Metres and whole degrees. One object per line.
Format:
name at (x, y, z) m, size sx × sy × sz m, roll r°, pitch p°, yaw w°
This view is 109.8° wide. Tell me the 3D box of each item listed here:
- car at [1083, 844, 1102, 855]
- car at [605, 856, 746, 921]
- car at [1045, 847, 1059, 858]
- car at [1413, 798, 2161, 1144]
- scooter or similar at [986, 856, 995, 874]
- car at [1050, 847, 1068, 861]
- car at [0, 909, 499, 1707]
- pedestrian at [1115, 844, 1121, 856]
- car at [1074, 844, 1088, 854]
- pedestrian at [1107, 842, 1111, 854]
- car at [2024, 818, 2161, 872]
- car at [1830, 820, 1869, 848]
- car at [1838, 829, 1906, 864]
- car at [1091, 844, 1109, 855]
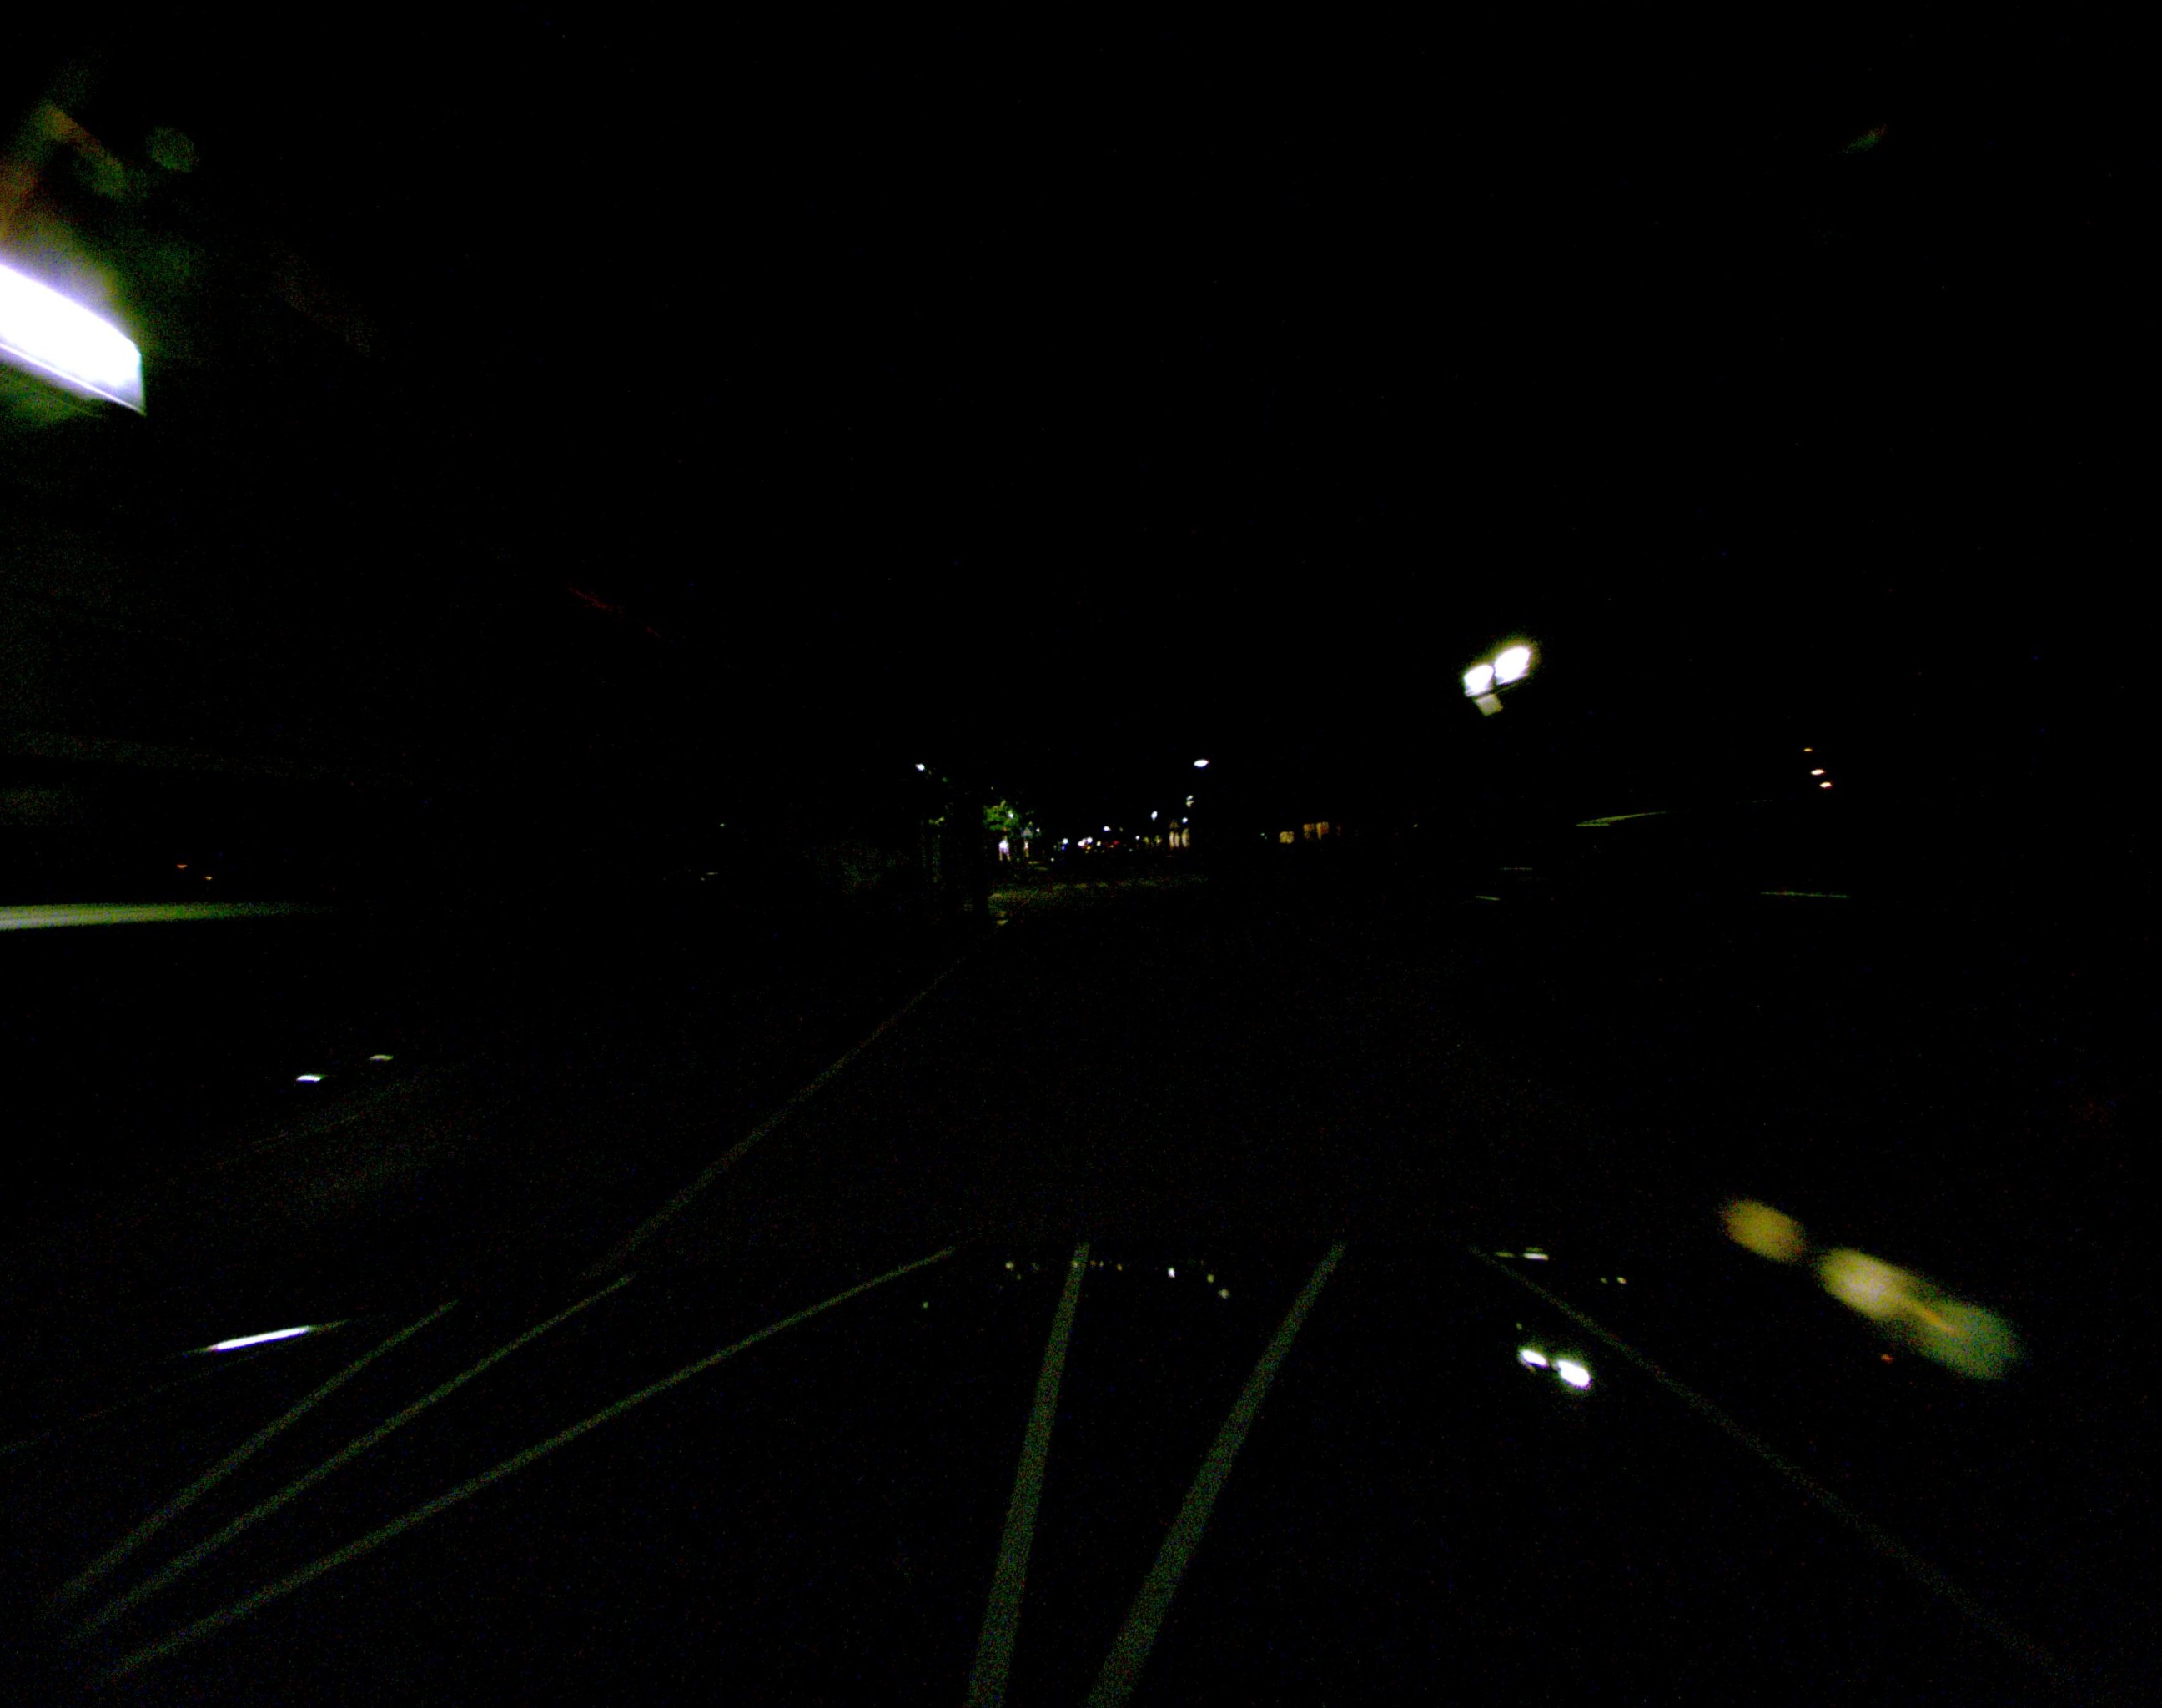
car at (1.846, -0.725, 123.235) m, size 1.912 × 1.533 × 4.776 m, roll -4°, pitch 1°, yaw -12°
car at (-11.215, 0.882, 21.356) m, size 1.809 × 1.452 × 4.055 m, roll 2°, pitch 2°, yaw -1°
car at (-4.368, -0.305, 113.527) m, size 1.747 × 1.479 × 4.631 m, roll -2°, pitch 2°, yaw -7°
car at (4.908, 0.588, 6.440) m, size 2.023 × 1.681 × 5.003 m, roll -4°, pitch 1°, yaw 1°
scooter or similar at (-6.480, 0.773, 54.607) m, size 0.374 × 1.269 × 1.305 m, roll -2°, pitch 2°, yaw 2°
car at (-2.453, -0.006, 83.560) m, size 1.739 × 1.432 × 4.494 m, roll -2°, pitch 1°, yaw -5°
car at (-2.712, 0.948, 0.571) m, size 1.679 × 1.451 × 3.675 m, roll -2°, pitch 1°, yaw -1°
pedestrian at (5.836, -0.702, 119.106) m, size 0.794 × 1.807 × 1.023 m, roll -4°, pitch 2°, yaw -2°
car at (-0.050, -0.916, 134.271) m, size 1.776 × 1.565 × 4.478 m, roll -4°, pitch 2°, yaw -8°
pedestrian at (4.370, -0.976, 119.426) m, size 0.502 × 1.812 × 0.503 m, roll -2°, pitch 2°, yaw -2°
car at (29.289, -0.245, 20.888) m, size 3.989 × 1.433 × 1.925 m, roll -1°, pitch 0°, yaw 43°
car at (46.295, -1.198, 45.760) m, size 3.425 × 1.560 × 1.571 m, roll -4°, pitch 3°, yaw -43°
car at (32.672, -0.303, 31.468) m, size 1.816 × 1.368 × 4.008 m, roll 0°, pitch 0°, yaw 45°
car at (2.937, -0.711, 117.538) m, size 1.765 × 1.628 × 4.810 m, roll -3°, pitch 1°, yaw -11°
